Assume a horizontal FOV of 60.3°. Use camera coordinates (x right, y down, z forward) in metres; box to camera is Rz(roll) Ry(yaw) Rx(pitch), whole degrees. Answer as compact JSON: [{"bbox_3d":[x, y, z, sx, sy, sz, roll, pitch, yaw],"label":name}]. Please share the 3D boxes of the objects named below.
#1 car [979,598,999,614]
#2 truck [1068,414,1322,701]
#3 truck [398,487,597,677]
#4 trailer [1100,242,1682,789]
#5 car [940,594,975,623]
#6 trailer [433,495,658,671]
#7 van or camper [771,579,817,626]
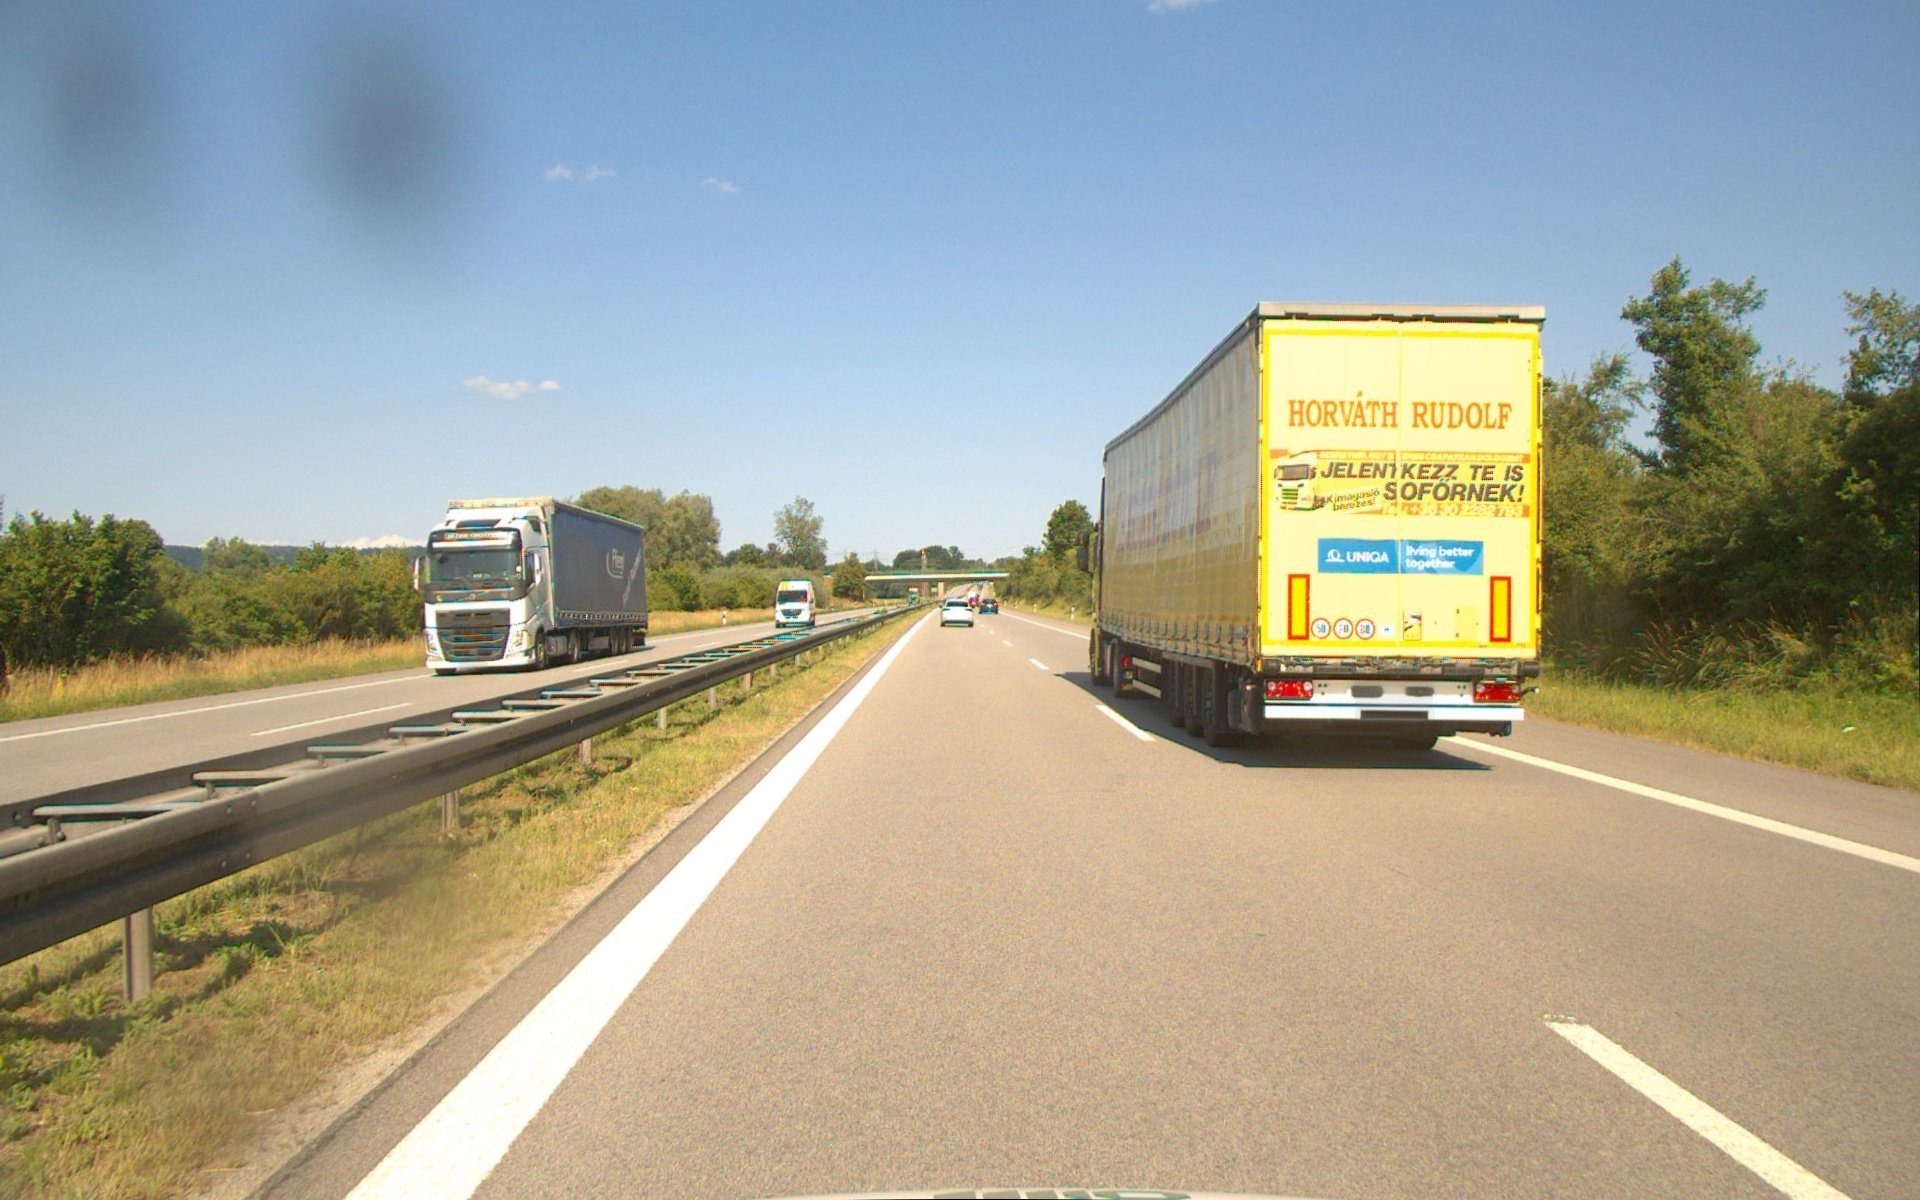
[{"bbox_3d":[2.796,0.593,160.764,1.805,1.546,4.000,1,0,0],"label":"car"},{"bbox_3d":[3.703,-0.621,27.704,3.105,4.186,6.386,1,0,-2],"label":"truck"},{"bbox_3d":[-11.205,-0.416,40.780,3.105,4.185,6.386,-2,0,-2],"label":"truck"},{"bbox_3d":[3.873,-0.636,19.270,3.120,4.130,13.184,1,0,-1],"label":"trailer"},{"bbox_3d":[-0.130,0.450,88.169,1.805,1.440,4.000,1,0,0],"label":"car"},{"bbox_3d":[-11.466,-0.410,47.761,3.121,4.130,14.592,-3,0,-2],"label":"trailer"},{"bbox_3d":[-9.500,0.125,95.282,1.953,2.540,7.226,-2,0,-1],"label":"van or camper"}]
